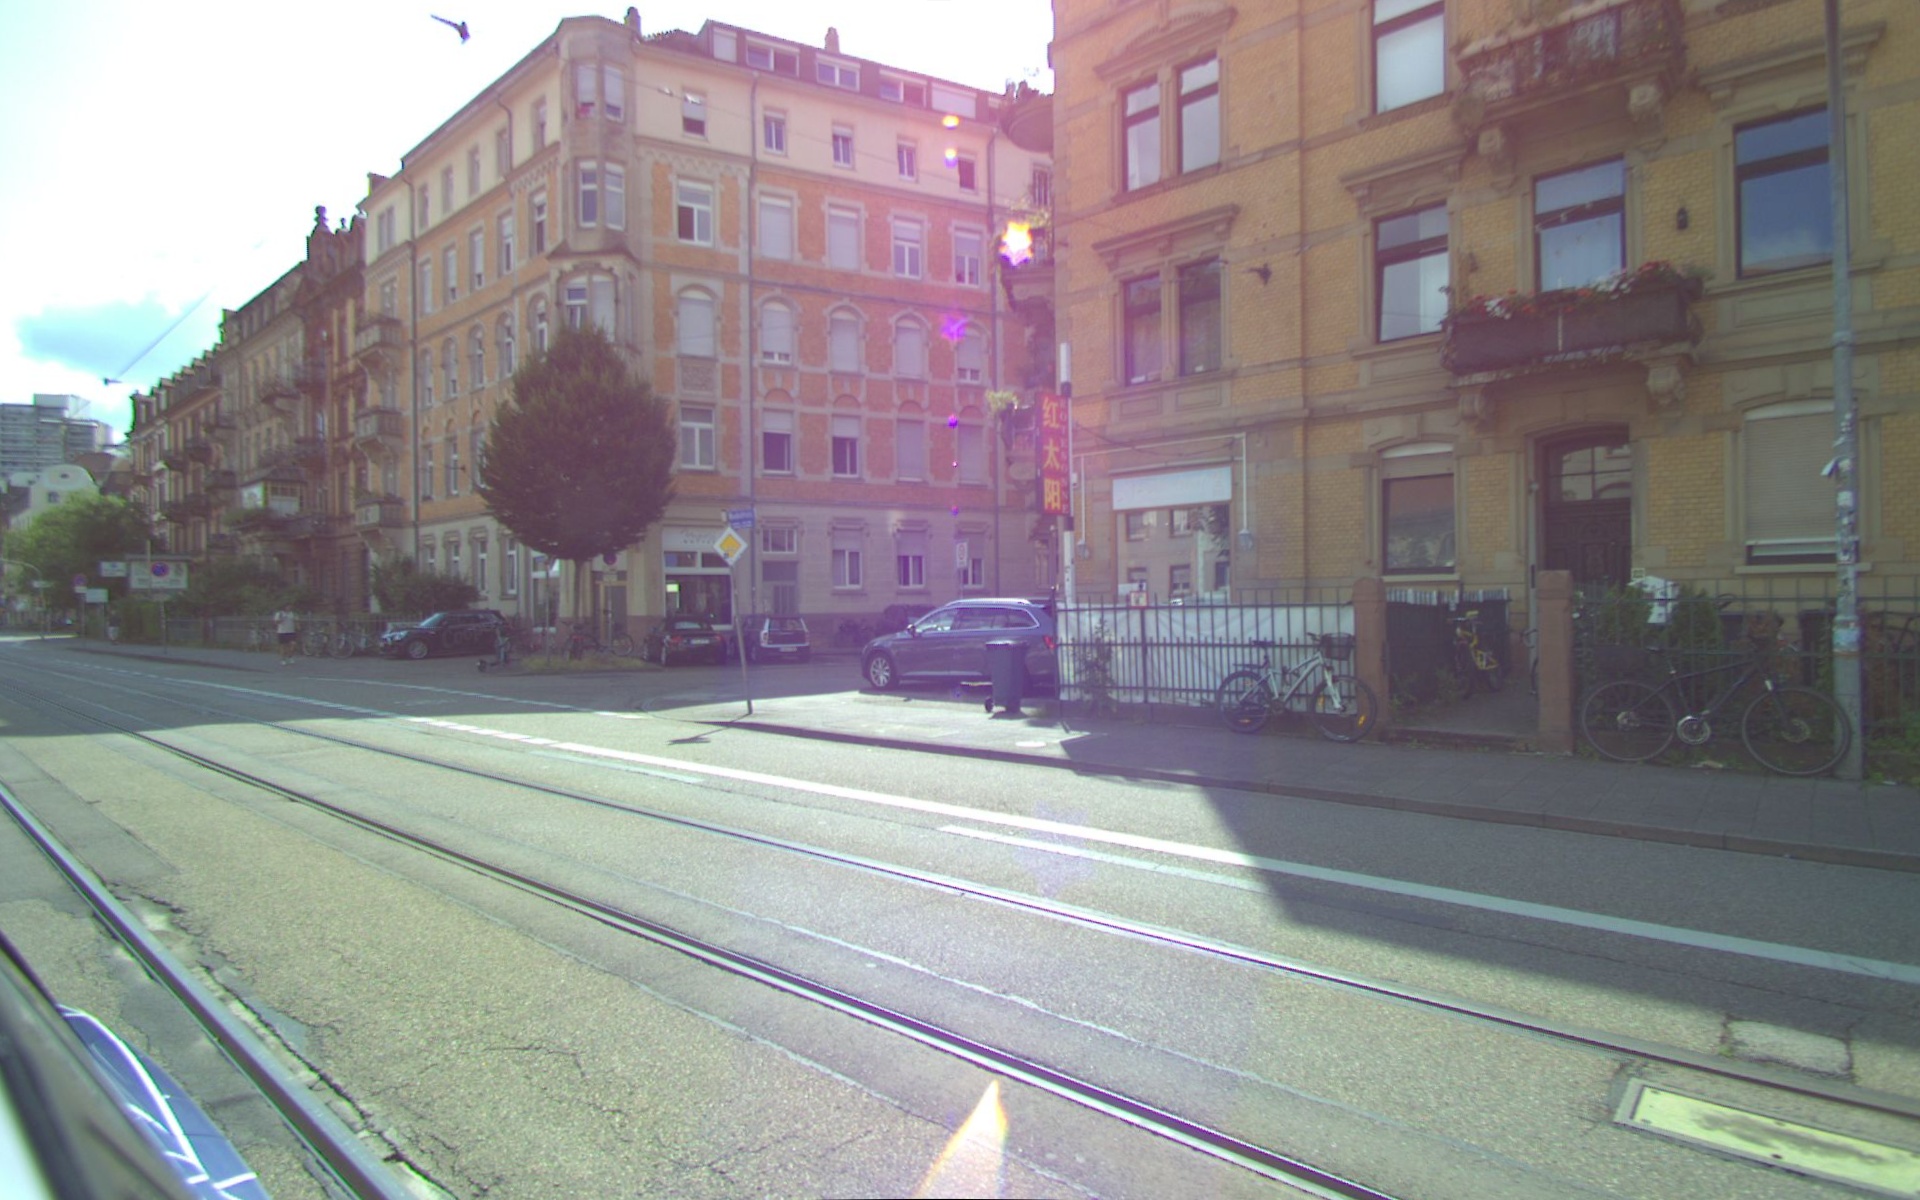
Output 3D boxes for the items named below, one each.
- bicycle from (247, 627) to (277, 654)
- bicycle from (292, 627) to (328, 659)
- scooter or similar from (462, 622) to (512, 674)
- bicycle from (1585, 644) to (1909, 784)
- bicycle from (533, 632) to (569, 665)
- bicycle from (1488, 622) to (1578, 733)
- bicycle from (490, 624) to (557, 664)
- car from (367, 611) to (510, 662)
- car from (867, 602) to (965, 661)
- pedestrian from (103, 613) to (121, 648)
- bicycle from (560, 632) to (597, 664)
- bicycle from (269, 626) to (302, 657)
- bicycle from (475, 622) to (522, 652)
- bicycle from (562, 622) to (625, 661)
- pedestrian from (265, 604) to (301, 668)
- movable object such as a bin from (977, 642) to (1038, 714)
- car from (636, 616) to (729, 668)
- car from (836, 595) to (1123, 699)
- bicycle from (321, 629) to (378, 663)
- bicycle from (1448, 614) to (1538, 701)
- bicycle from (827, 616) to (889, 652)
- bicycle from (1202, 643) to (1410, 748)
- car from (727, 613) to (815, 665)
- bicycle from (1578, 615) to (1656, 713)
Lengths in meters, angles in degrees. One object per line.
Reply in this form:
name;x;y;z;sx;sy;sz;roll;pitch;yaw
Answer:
bicycle;-25.104;1.454;36.377;1.948;0.939;0.417;-1;-1;41
bicycle;-20.629;1.347;32.107;1.948;0.984;0.417;-1;-1;41
scooter or similar;-12.021;1.214;25.754;0.400;1.244;1.360;-1;0;13
bicycle;6.160;0.847;8.035;1.967;0.954;0.524;-1;-1;41
bicycle;-11.207;1.318;27.727;0.516;0.844;1.702;-1;-1;-36
bicycle;5.662;0.710;9.954;0.531;0.954;1.943;-1;-1;36
bicycle;-12.560;1.254;29.164;0.523;1.071;1.738;-2;-1;36
car;-16.143;1.099;31.388;3.562;1.413;1.788;-1;-1;-45
car;-1.464;0.948;32.064;1.591;1.734;4.013;0;-1;-26
pedestrian;-42.619;1.530;50.844;1.150;1.716;0.483;-2;-1;39
bicycle;-10.511;1.303;27.835;0.516;0.844;1.702;-1;-1;-36
bicycle;-22.378;1.376;33.573;1.948;0.984;0.417;-1;-1;41
bicycle;-15.825;1.247;34.714;0.404;0.984;1.437;-2;-1;41
bicycle;-10.918;1.225;30.172;1.671;1.071;0.525;-1;-1;-38
pedestrian;-19.372;1.022;28.960;1.105;1.773;0.527;-1;1;41
movable object such as a bin;0.639;1.038;13.663;0.635;0.912;0.520;-1;-1;40
car;-8.038;1.163;29.087;1.616;1.370;3.938;0;-1;-30
car;0.184;0.709;16.584;4.762;1.470;1.668;-1;-1;42
bicycle;-18.612;1.397;30.860;0.404;0.984;1.437;-2;-1;41
bicycle;6.522;0.663;12.334;0.531;0.954;1.941;-1;-1;41
bicycle;-3.623;1.203;36.092;2.144;1.218;0.626;0;-1;-31
bicycle;3.507;0.933;10.392;1.967;0.954;0.524;-1;-1;41
car;-5.711;1.126;30.227;1.616;1.426;3.800;0;-1;-26
bicycle;7.098;0.645;10.898;0.531;0.954;1.943;-1;-1;38
